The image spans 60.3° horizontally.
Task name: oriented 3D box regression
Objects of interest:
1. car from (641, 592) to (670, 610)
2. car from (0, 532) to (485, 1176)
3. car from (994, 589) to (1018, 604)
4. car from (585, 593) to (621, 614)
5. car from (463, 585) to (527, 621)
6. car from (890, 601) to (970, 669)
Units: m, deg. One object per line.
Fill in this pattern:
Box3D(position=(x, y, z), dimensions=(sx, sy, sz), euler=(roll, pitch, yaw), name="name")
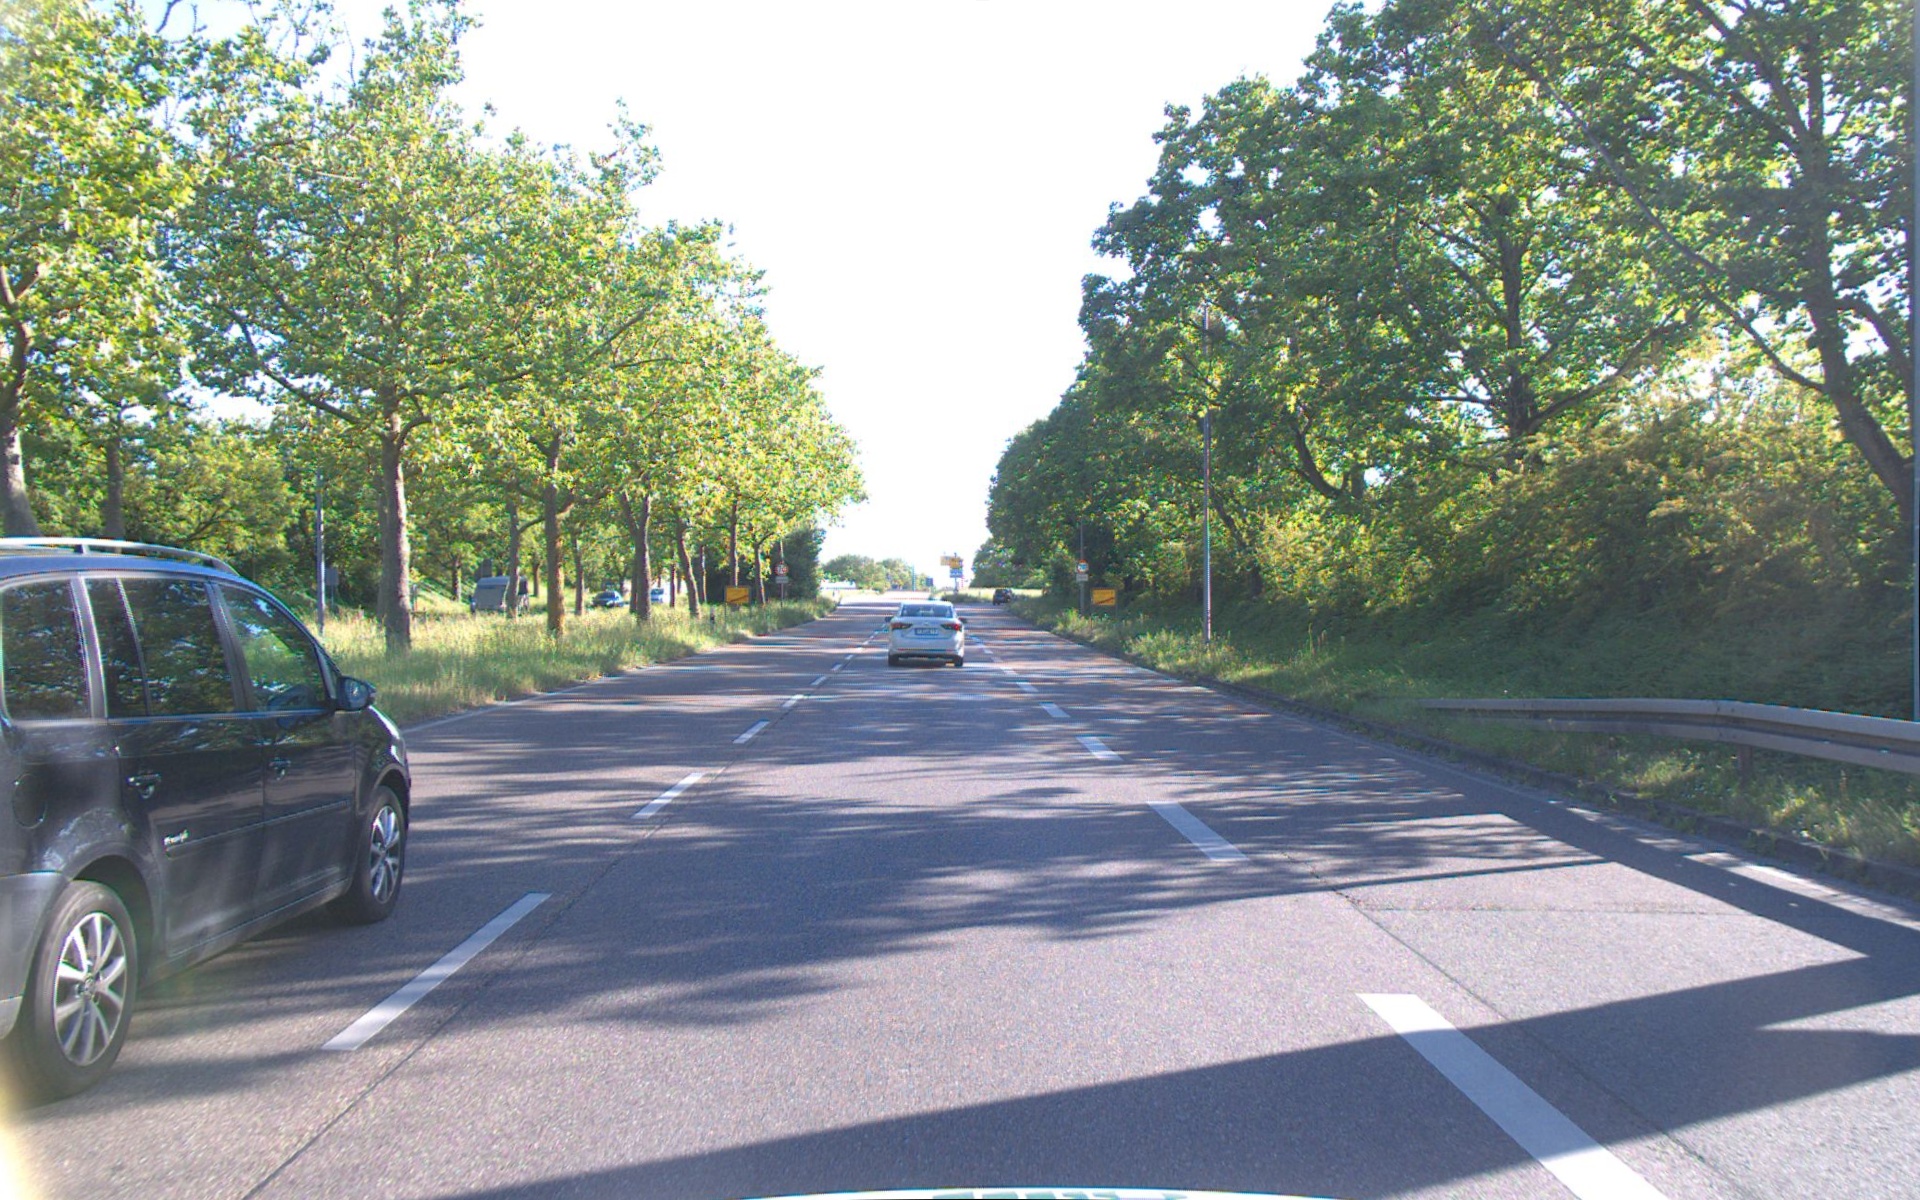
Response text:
Box3D(position=(-25.696, 0.068, 139.830), dimensions=(1.732, 1.489, 4.365), euler=(0, 0, -1), name="car")
Box3D(position=(-3.378, 0.650, 6.336), dimensions=(1.732, 1.673, 4.922), euler=(1, 0, -1), name="car")
Box3D(position=(4.575, -0.347, 163.411), dimensions=(1.730, 1.489, 4.370), euler=(0, 0, 10), name="car")
Box3D(position=(-26.159, 0.244, 121.281), dimensions=(1.732, 1.489, 4.365), euler=(0, 0, -1), name="car")
Box3D(position=(-25.978, 0.152, 92.592), dimensions=(2.091, 1.935, 5.740), euler=(0, 0, -1), name="car")
Box3D(position=(-0.657, 0.790, 39.182), dimensions=(1.731, 1.489, 4.367), euler=(0, 0, 1), name="car")
